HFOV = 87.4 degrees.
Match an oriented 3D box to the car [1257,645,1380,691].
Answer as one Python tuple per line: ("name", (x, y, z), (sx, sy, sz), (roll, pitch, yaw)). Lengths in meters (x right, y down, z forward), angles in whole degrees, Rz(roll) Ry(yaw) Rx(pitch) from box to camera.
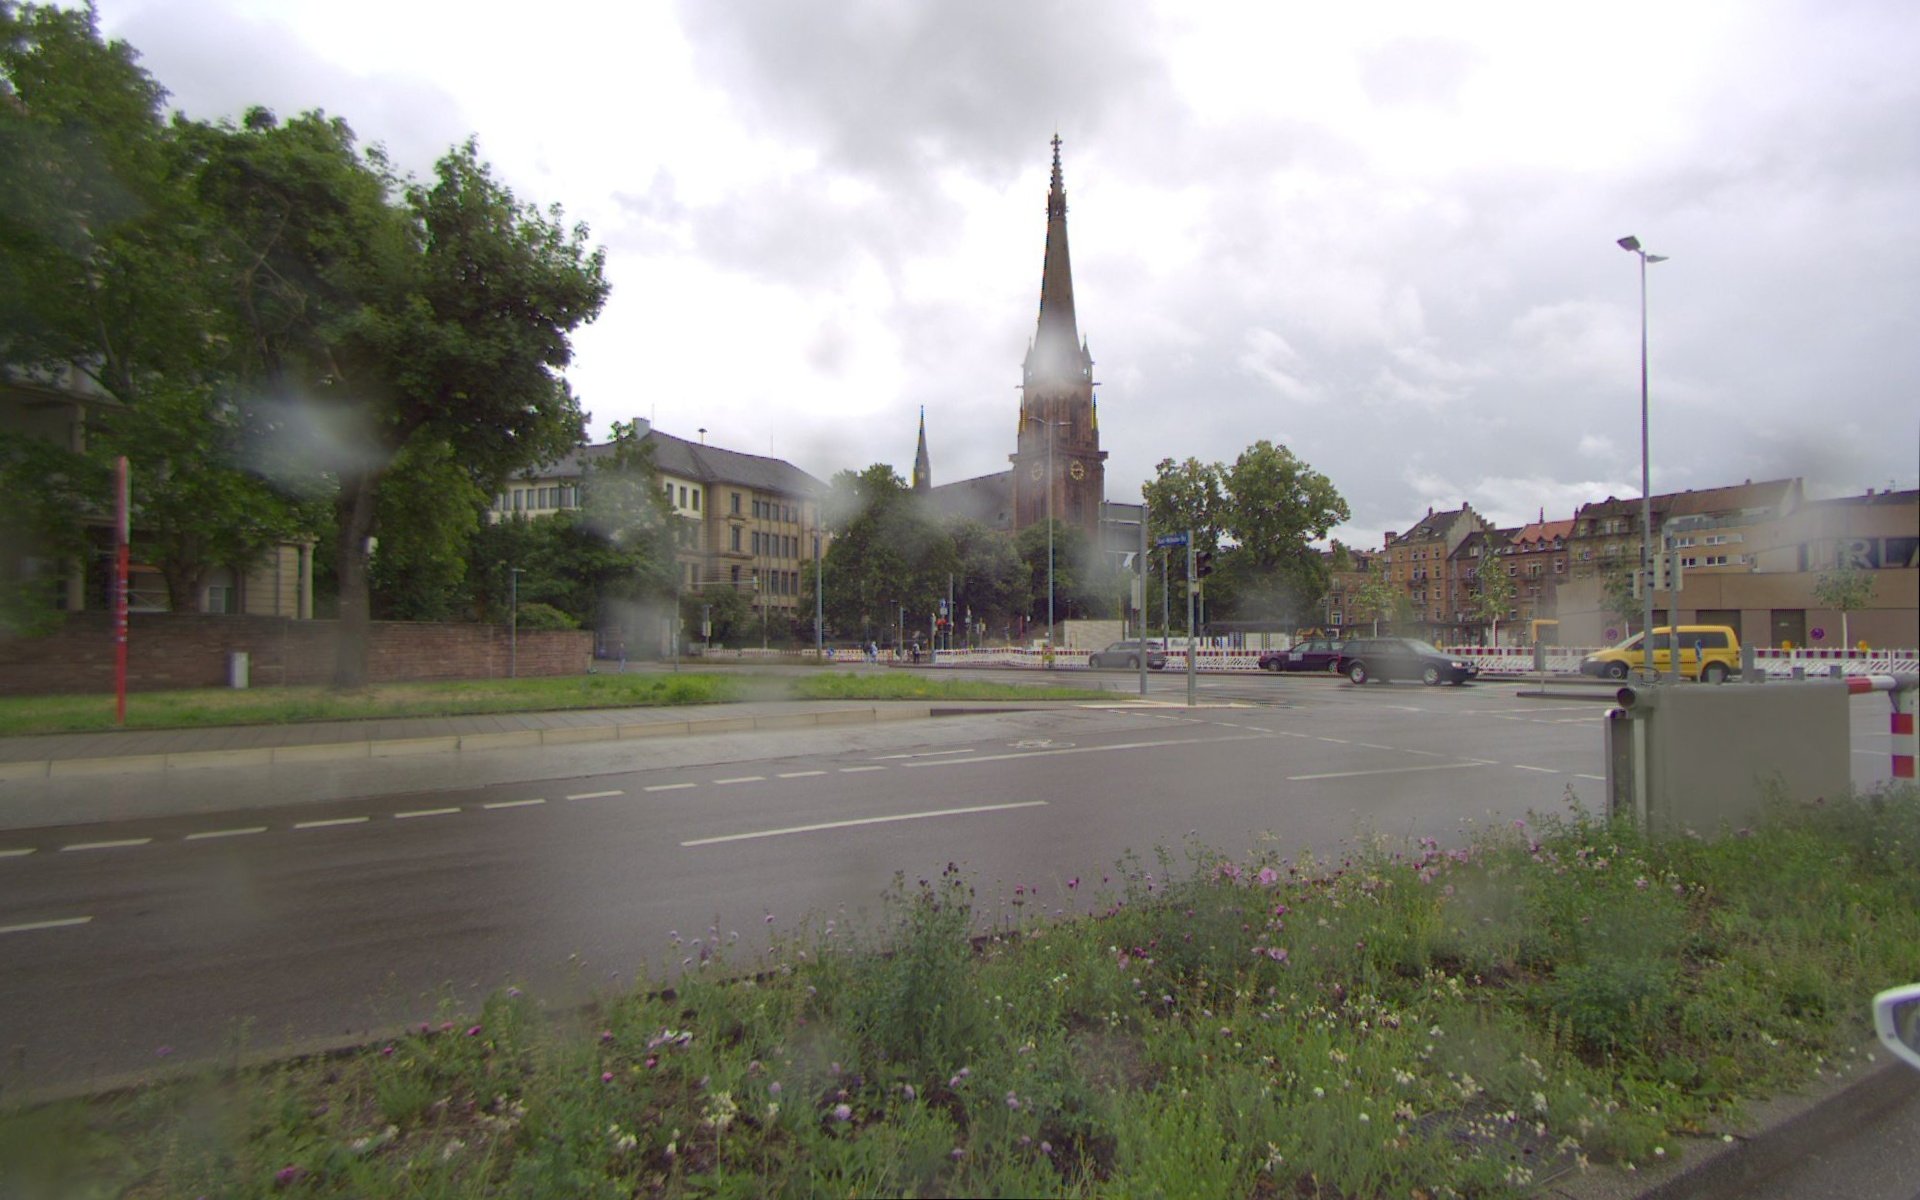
("car", (14.467, 2.714, 40.733), (4.400, 1.728, 1.701), (-2, -3, 44))

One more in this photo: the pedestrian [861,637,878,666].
("pedestrian", (-6.419, 3.606, 70.968), (0.945, 2.040, 0.852), (1, -2, -30))

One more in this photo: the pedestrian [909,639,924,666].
("pedestrian", (-2.957, 3.572, 68.063), (0.765, 1.801, 0.720), (1, -2, -30))

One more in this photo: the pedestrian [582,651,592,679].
("pedestrian", (-25.438, 4.420, 68.536), (0.592, 1.915, 0.605), (0, -2, -15))

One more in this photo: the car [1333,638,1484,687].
("car", (14.182, 1.938, 31.981), (1.602, 1.420, 4.163), (1, -2, -36))

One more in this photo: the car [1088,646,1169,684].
("car", (8.132, 3.113, 48.722), (1.695, 1.728, 3.780), (1, -2, -37))

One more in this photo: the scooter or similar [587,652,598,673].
("scooter or similar", (-19.380, 3.289, 52.974), (0.274, 1.096, 1.078), (0, -2, -4))

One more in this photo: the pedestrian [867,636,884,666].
("pedestrian", (-5.915, 3.553, 70.102), (0.945, 2.040, 0.852), (1, -2, -30))

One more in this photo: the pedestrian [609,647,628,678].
("pedestrian", (-17.295, 3.164, 50.897), (0.662, 1.520, 0.774), (0, -2, 0))

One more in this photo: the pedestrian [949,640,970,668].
("pedestrian", (-0.034, 4.051, 75.319), (0.981, 2.040, 1.305), (-1, -2, 34))

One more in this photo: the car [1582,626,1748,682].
("car", (22.759, 1.714, 32.613), (4.072, 1.728, 1.711), (-1, -2, 22))
